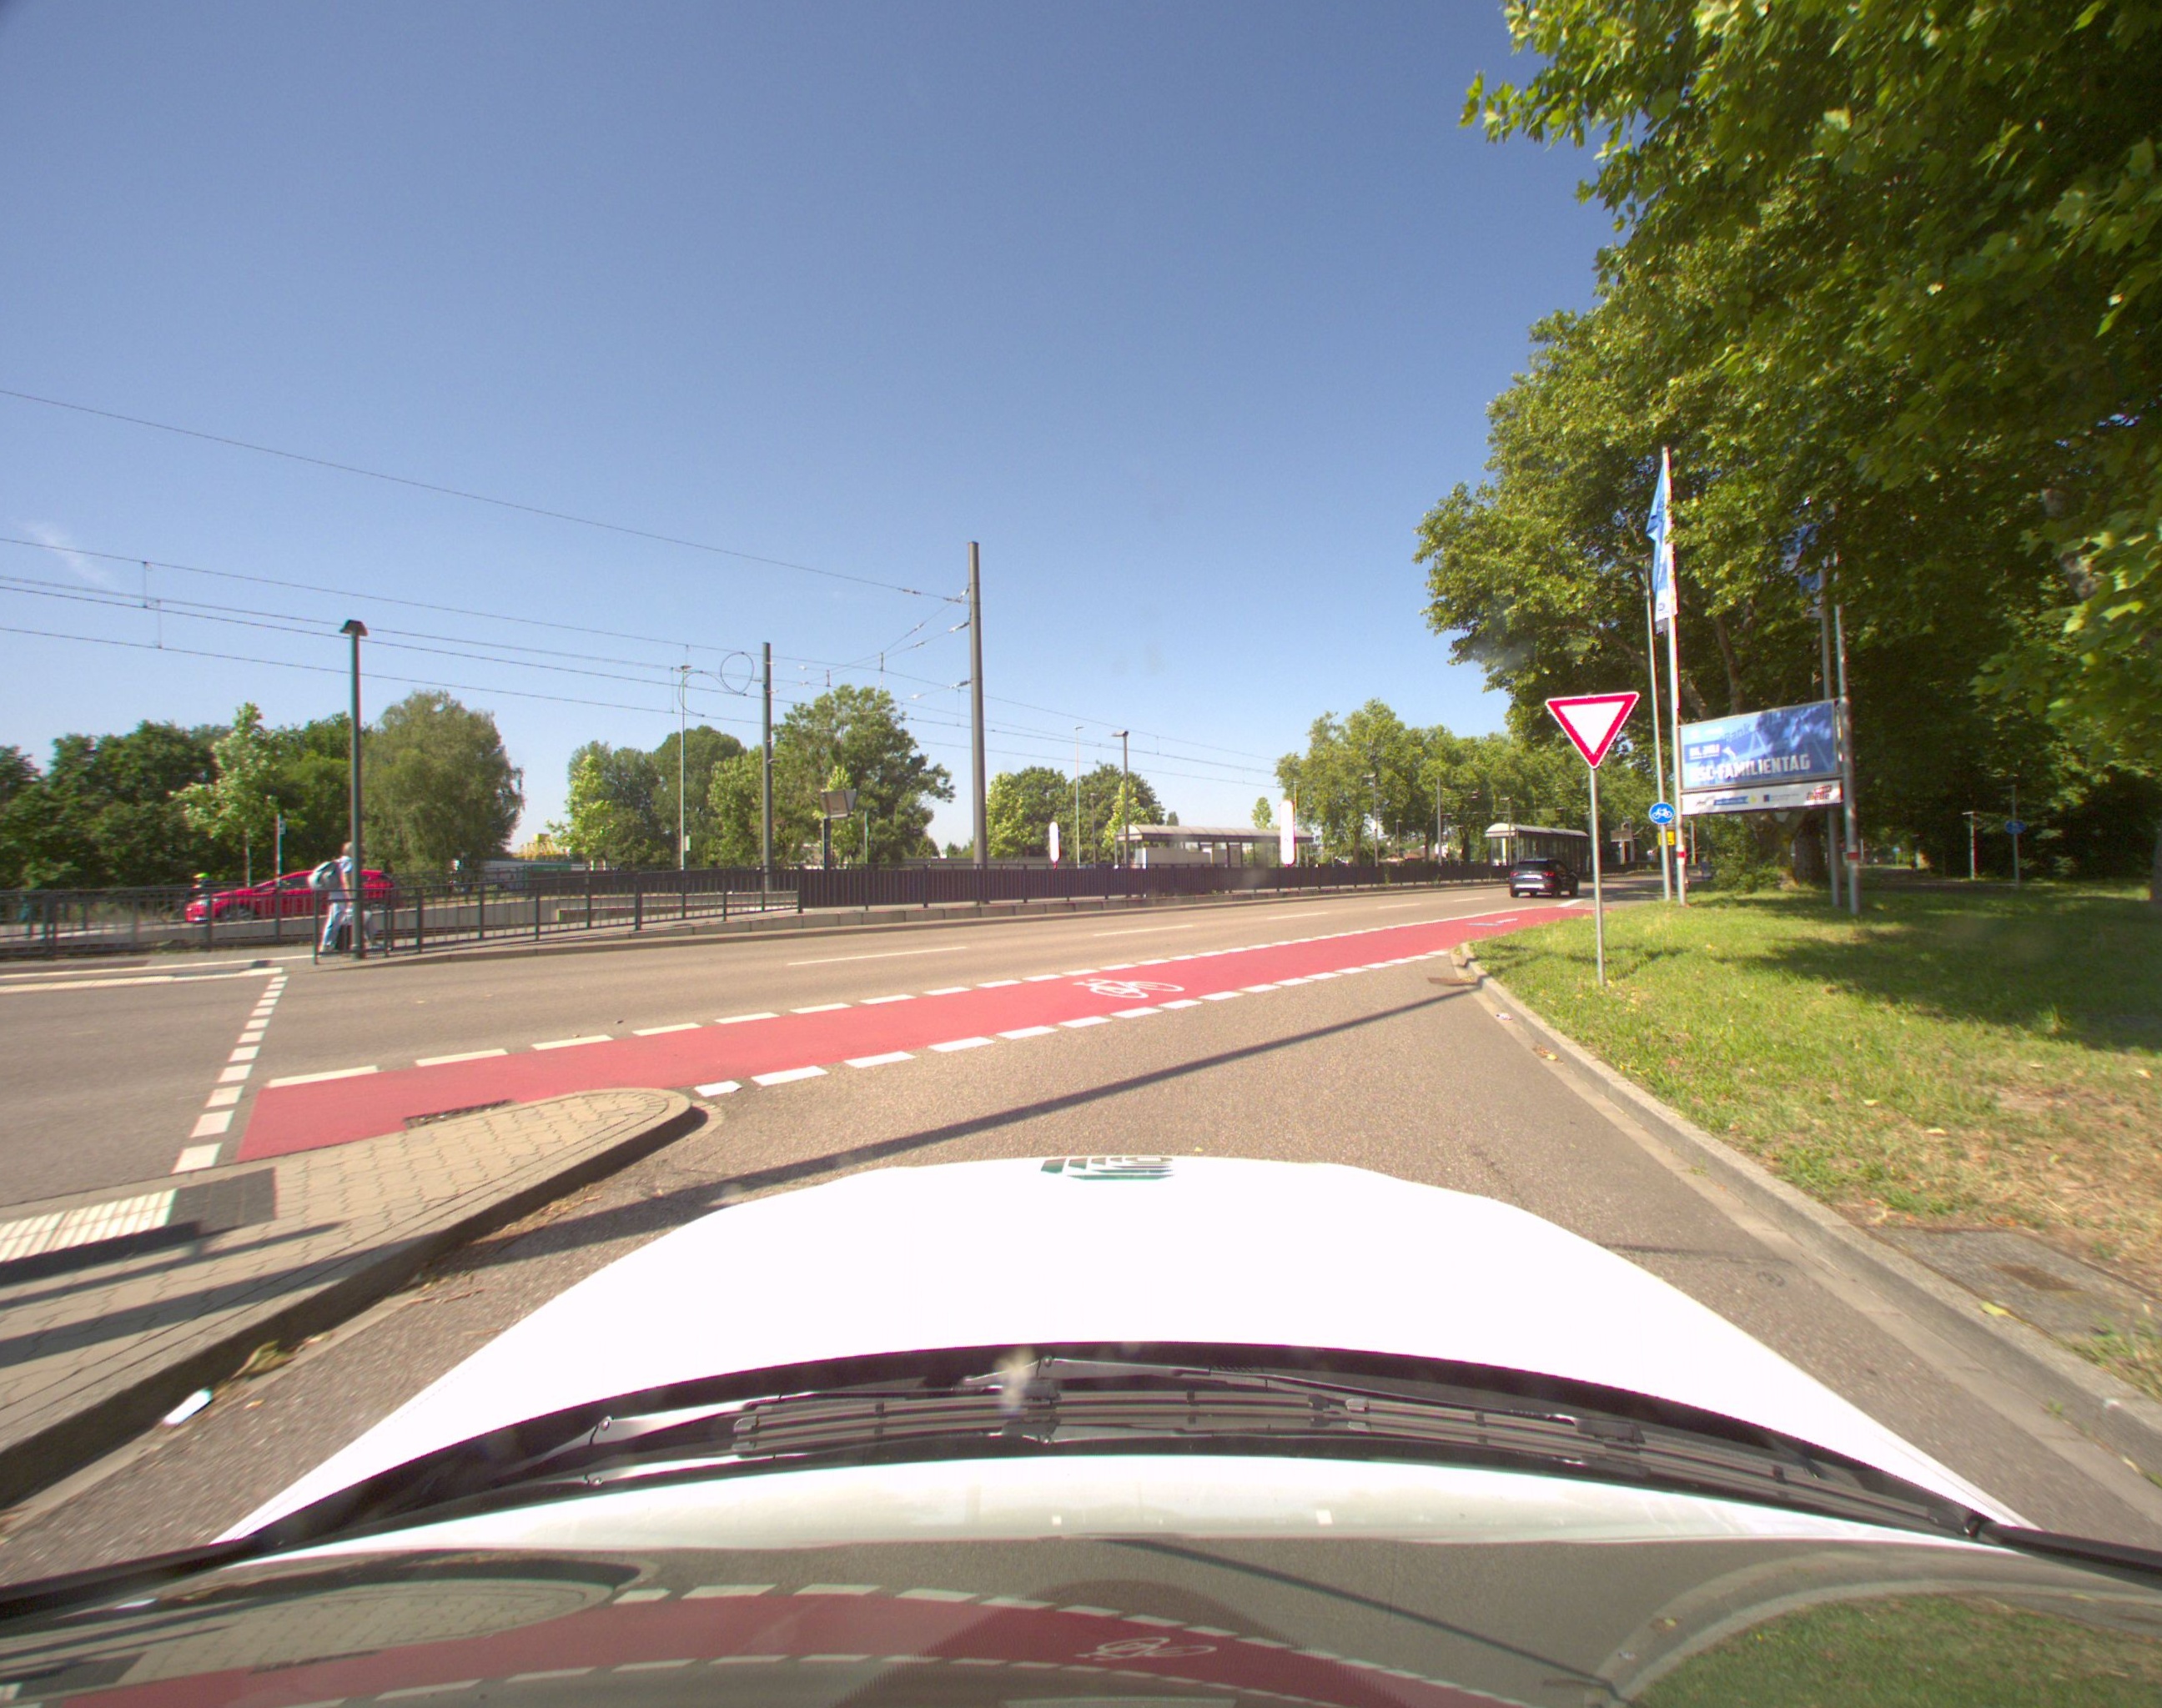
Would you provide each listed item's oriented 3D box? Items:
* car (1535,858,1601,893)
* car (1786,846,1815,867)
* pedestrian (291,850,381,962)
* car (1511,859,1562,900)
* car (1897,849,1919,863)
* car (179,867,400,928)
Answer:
[{"bbox_3d":[25.089,1.108,41.886,4.184,1.713,1.909,1,-3,-45],"label":"car"},{"bbox_3d":[73.479,0.314,83.182,1.975,2.014,4.024,-3,-3,43],"label":"car"},{"bbox_3d":[-10.585,0.700,11.609,0.778,1.511,0.997,0,0,-32],"label":"pedestrian"},{"bbox_3d":[17.927,0.986,32.017,1.654,1.523,3.397,-1,-2,30],"label":"car"},{"bbox_3d":[123.015,0.280,121.154,4.020,2.014,1.976,0,-3,-40],"label":"car"},{"bbox_3d":[-20.565,1.064,21.334,1.725,1.445,4.023,-1,-1,44],"label":"car"}]
